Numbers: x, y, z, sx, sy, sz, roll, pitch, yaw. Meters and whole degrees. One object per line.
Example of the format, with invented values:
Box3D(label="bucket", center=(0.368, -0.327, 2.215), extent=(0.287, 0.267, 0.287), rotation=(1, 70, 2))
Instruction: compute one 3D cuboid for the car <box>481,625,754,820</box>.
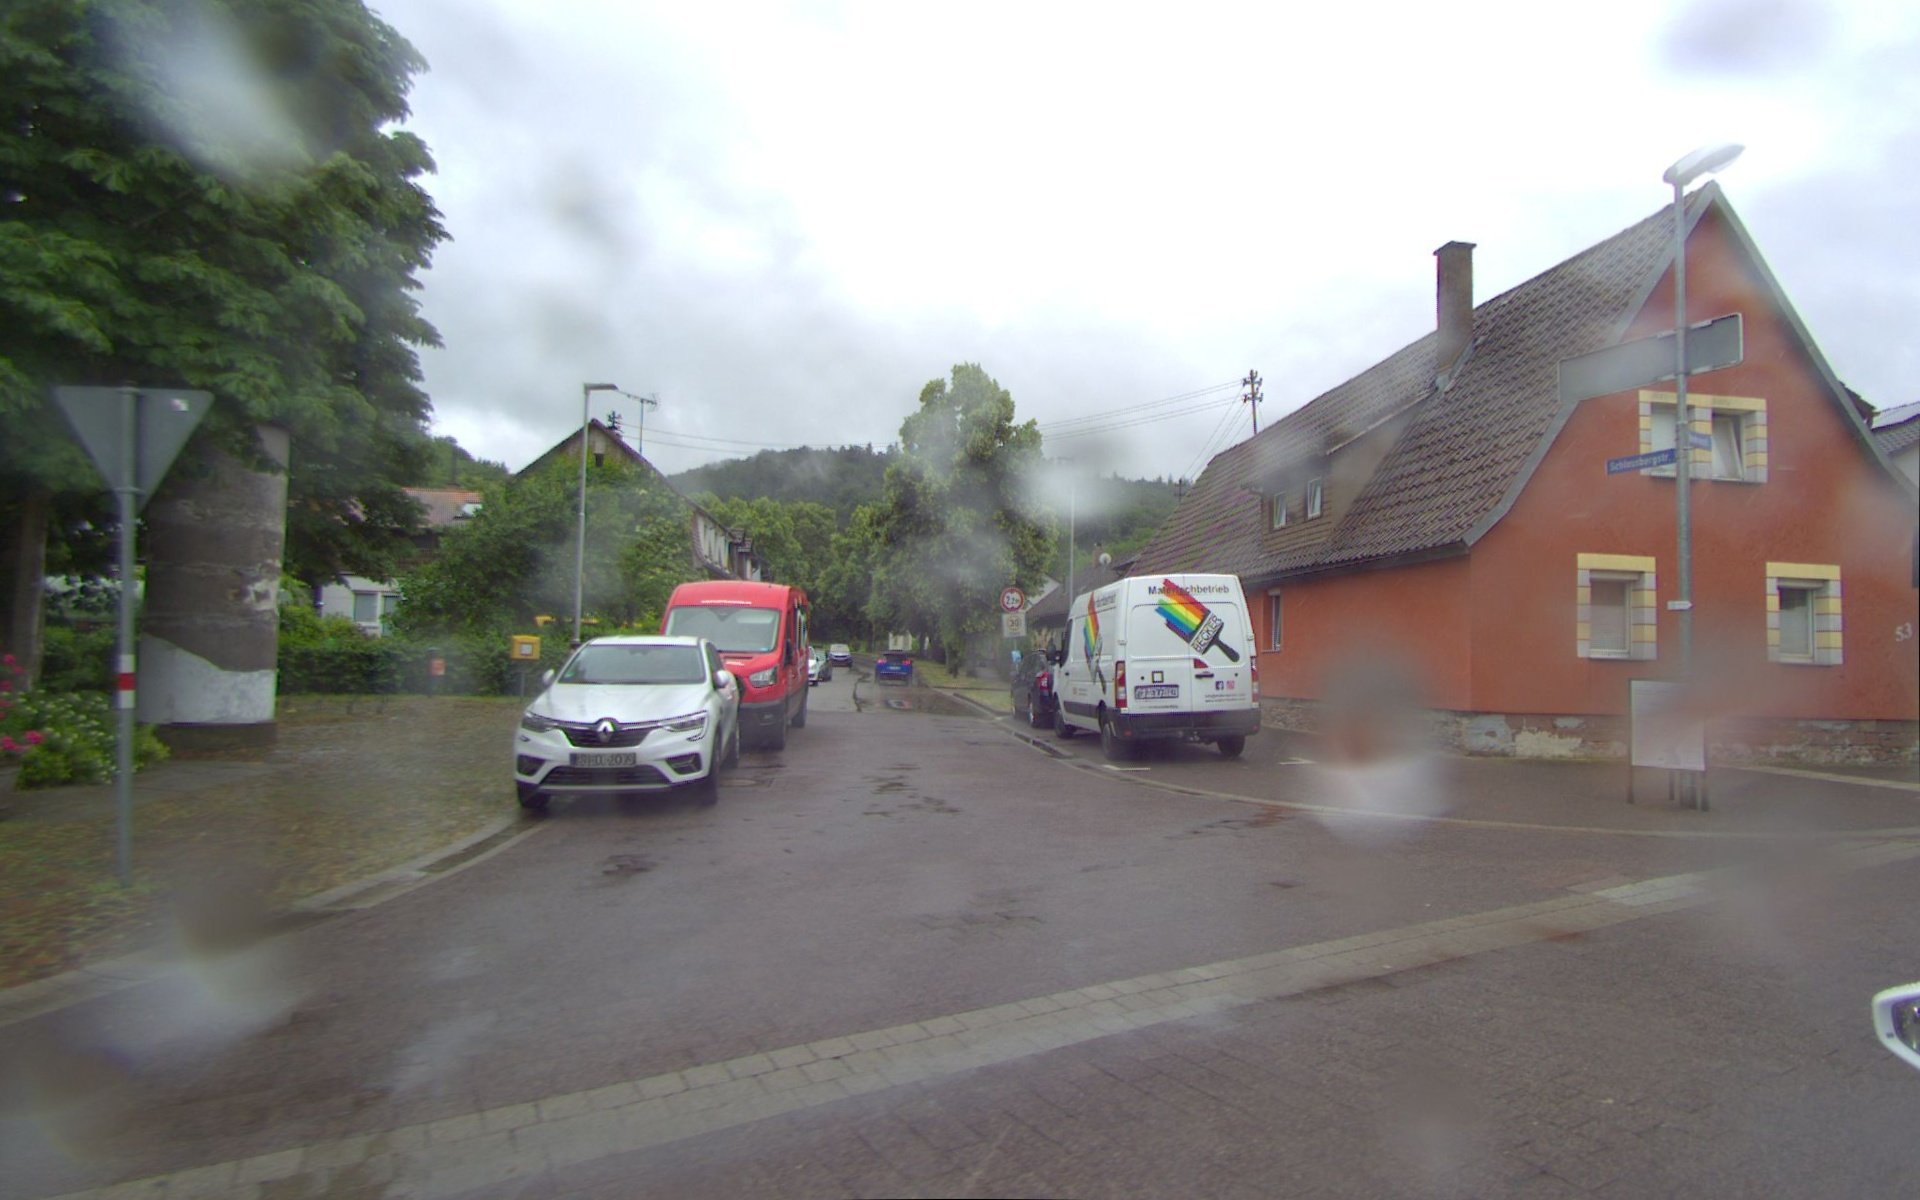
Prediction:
Box3D(label="car", center=(-3.248, 1.100, 10.466), extent=(1.848, 1.570, 4.455), rotation=(1, -2, -8))

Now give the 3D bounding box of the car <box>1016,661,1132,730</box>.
Box3D(label="car", center=(2.298, 1.949, 21.228), extent=(1.802, 1.297, 4.003), rotation=(0, -3, -3))

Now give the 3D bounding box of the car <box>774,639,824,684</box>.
Box3D(label="car", center=(-6.441, 2.434, 40.255), extent=(1.780, 1.622, 3.756), rotation=(3, -3, -9))

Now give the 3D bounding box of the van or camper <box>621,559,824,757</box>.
Box3D(label="van or camper", center=(-3.511, 0.897, 16.146), extent=(2.114, 2.505, 5.876), rotation=(2, -3, -4))

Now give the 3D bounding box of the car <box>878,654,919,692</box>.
Box3D(label="car", center=(-2.956, 3.450, 47.785), extent=(1.829, 1.571, 3.997), rotation=(1, -1, -5))

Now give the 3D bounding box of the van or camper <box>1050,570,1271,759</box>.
Box3D(label="van or camper", center=(2.863, 0.982, 15.772), extent=(2.169, 2.467, 5.159), rotation=(0, -3, -3))

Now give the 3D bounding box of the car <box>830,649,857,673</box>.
Box3D(label="car", center=(-8.958, 4.678, 77.266), extent=(1.943, 1.638, 4.438), rotation=(1, -1, -8))

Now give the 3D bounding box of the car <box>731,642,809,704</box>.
Box3D(label="car", center=(-5.306, 2.027, 28.408), extent=(1.767, 1.570, 3.810), rotation=(2, -3, -6))

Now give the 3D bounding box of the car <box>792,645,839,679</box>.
Box3D(label="car", center=(-6.936, 2.966, 48.481), extent=(1.651, 1.448, 3.665), rotation=(3, -3, 1))
